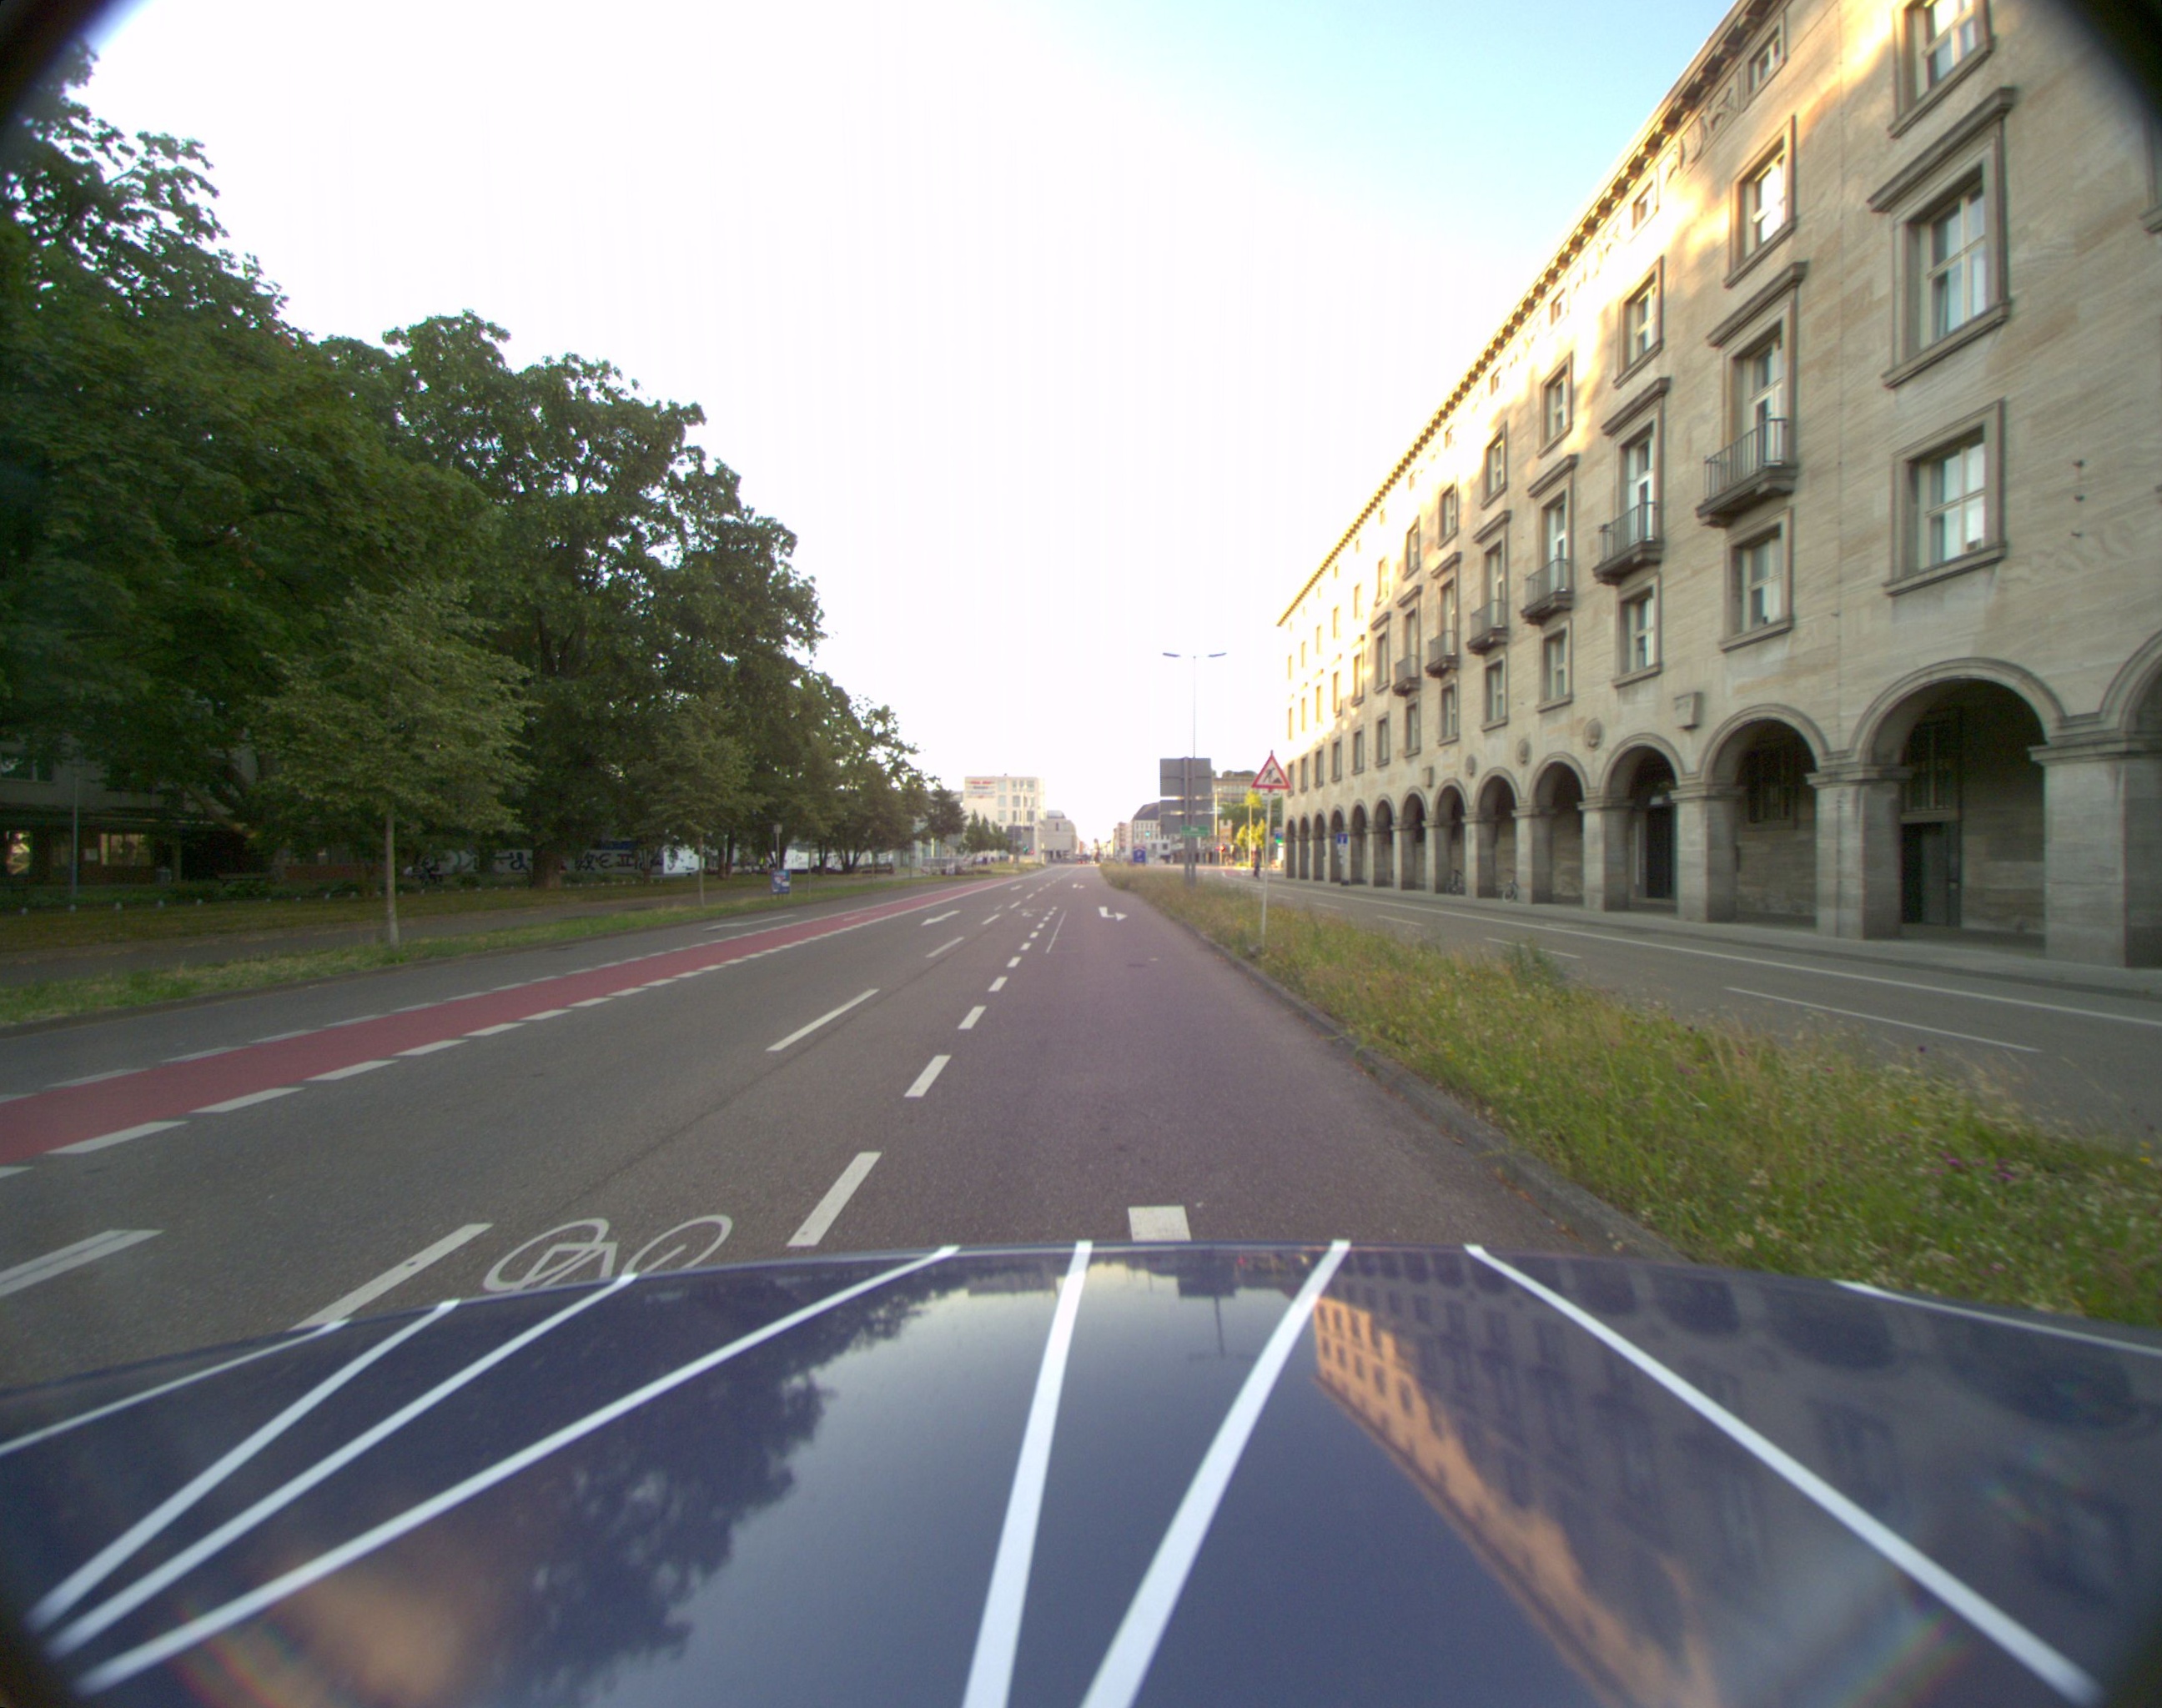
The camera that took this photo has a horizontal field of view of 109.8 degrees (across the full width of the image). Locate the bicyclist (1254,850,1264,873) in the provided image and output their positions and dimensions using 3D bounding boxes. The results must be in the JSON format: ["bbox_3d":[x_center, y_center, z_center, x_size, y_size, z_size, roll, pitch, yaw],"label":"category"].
[{"bbox_3d":[13.137,0.533,56.180,0.538,1.683,0.748,0,1,0],"label":"bicyclist"}]

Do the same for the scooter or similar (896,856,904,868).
[{"bbox_3d":[-19.929,0.873,83.705,0.424,1.213,1.399,2,0,2],"label":"scooter or similar"}]

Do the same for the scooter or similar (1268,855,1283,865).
[{"bbox_3d":[26.520,0.808,103.628,1.841,1.297,0.423,0,1,-5],"label":"scooter or similar"}]

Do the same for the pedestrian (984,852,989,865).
[{"bbox_3d":[-14.312,0.639,114.566,0.644,1.922,0.619,0,1,3],"label":"pedestrian"}]

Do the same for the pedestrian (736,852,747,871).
[{"bbox_3d":[-33.349,0.756,74.555,0.768,1.845,0.601,0,1,16],"label":"pedestrian"}]

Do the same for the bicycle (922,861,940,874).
[{"bbox_3d":[-12.646,1.127,64.026,0.494,1.000,1.901,3,1,21],"label":"bicycle"}]

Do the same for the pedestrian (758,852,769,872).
[{"bbox_3d":[-30.991,0.774,74.077,0.768,1.908,0.601,0,1,16],"label":"pedestrian"}]

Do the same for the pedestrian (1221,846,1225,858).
[{"bbox_3d":[23.950,-0.331,128.228,0.661,1.922,0.648,0,0,2],"label":"pedestrian"}]

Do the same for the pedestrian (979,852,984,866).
[{"bbox_3d":[-14.260,0.711,109.248,0.644,1.922,0.619,0,1,3],"label":"pedestrian"}]

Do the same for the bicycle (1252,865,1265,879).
[{"bbox_3d":[13.138,1.341,56.202,0.543,0.999,2.005,0,-1,1],"label":"bicycle"}]

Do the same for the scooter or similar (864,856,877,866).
[{"bbox_3d":[-26.756,0.930,96.594,1.573,1.213,0.474,-2,1,-1],"label":"scooter or similar"}]

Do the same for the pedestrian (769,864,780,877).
[{"bbox_3d":[-21.031,1.097,52.074,0.682,0.879,0.622,0,0,-22],"label":"pedestrian"}]

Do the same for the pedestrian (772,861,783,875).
[{"bbox_3d":[-20.589,0.951,51.574,0.682,0.879,0.592,0,0,-24],"label":"pedestrian"}]

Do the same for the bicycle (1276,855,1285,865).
[{"bbox_3d":[26.662,0.776,101.625,0.619,1.316,2.509,0,0,-1],"label":"bicycle"}]

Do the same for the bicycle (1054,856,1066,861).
[{"bbox_3d":[-5.291,1.191,188.655,2.804,1.209,0.765,0,0,10],"label":"bicycle"}]

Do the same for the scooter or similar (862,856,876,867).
[{"bbox_3d":[-26.700,0.944,95.777,1.573,1.213,0.474,-2,1,-1],"label":"scooter or similar"}]

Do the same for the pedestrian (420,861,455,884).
[{"bbox_3d":[-34.891,1.005,41.206,1.134,1.253,0.905,0,0,3],"label":"pedestrian"}]

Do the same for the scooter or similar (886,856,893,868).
[{"bbox_3d":[-21.102,0.885,83.643,0.474,1.213,1.573,2,0,-5],"label":"scooter or similar"}]

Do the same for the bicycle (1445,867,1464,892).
[{"bbox_3d":[15.665,1.052,31.876,0.477,0.999,2.008,0,0,20],"label":"bicycle"}]

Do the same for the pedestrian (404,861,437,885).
[{"bbox_3d":[-35.007,0.996,40.257,1.134,1.253,0.726,0,1,3],"label":"pedestrian"}]

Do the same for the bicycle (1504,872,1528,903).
[{"bbox_3d":[15.377,1.155,26.843,0.477,0.999,2.009,0,0,37],"label":"bicycle"}]

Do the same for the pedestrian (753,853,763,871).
[{"bbox_3d":[-32.058,0.782,75.411,0.768,1.810,0.601,0,1,16],"label":"pedestrian"}]

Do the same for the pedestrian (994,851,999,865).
[{"bbox_3d":[-12.085,0.587,108.259,0.644,1.922,0.619,0,1,1],"label":"pedestrian"}]
